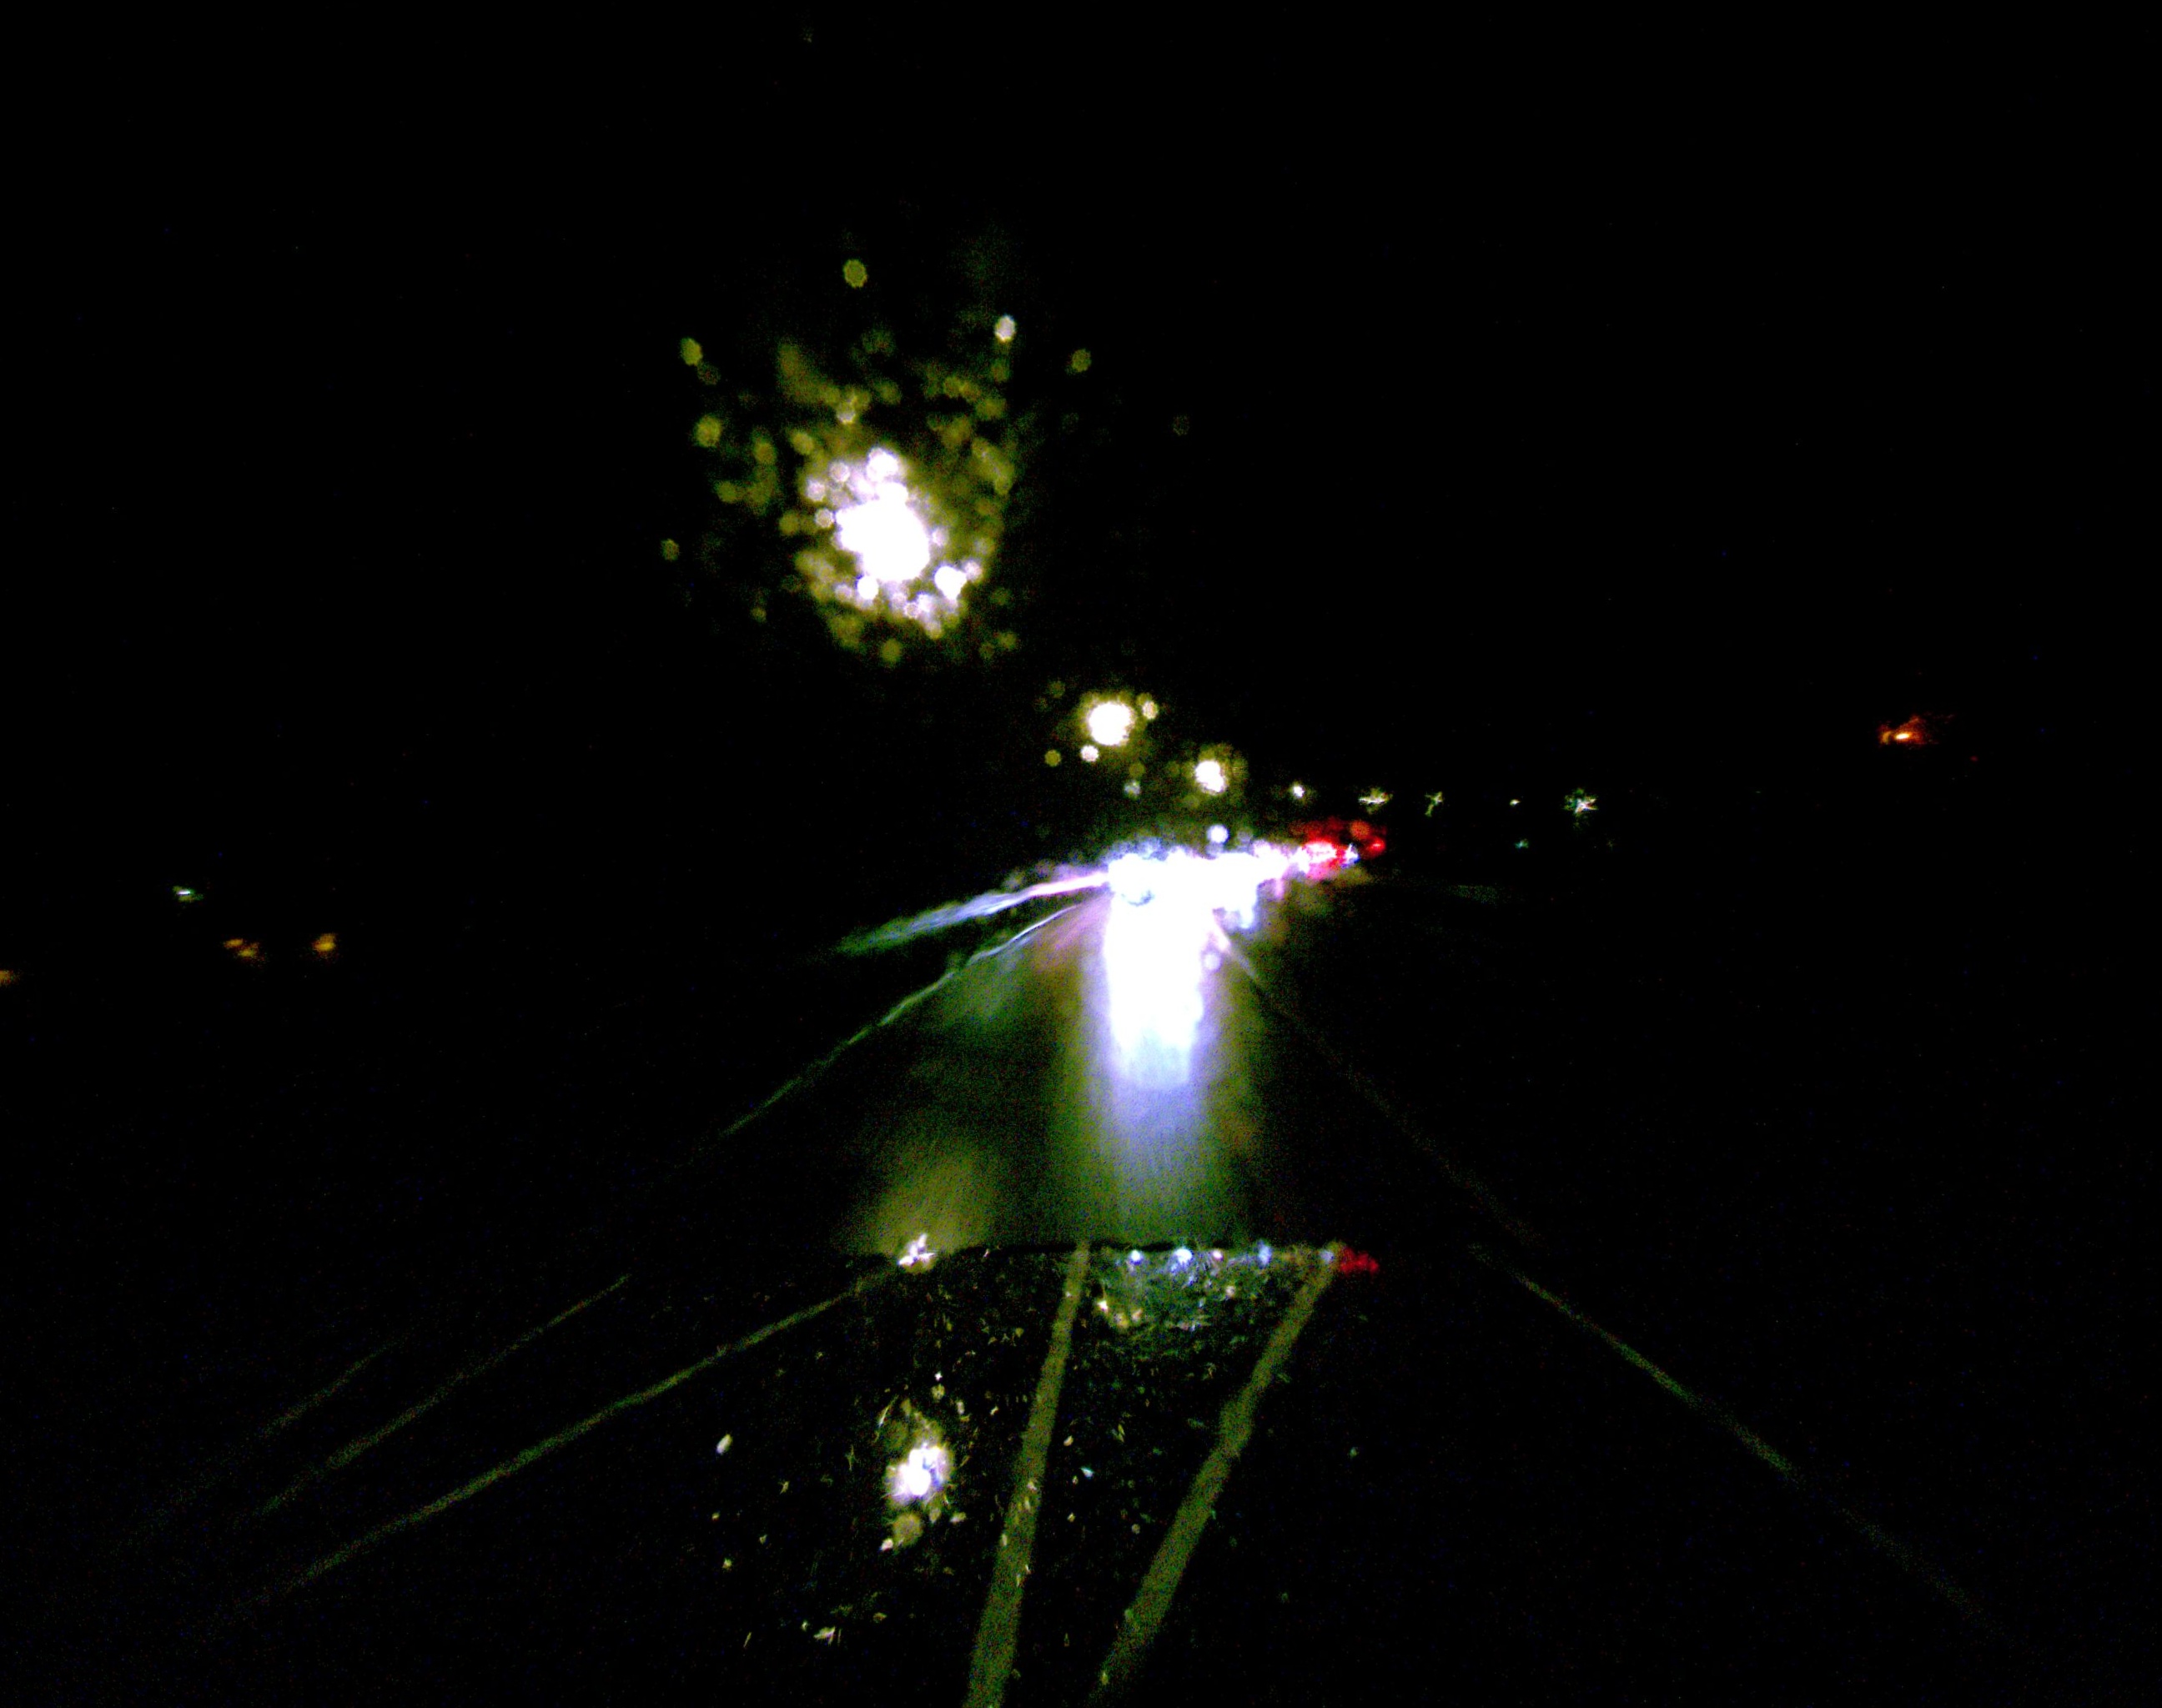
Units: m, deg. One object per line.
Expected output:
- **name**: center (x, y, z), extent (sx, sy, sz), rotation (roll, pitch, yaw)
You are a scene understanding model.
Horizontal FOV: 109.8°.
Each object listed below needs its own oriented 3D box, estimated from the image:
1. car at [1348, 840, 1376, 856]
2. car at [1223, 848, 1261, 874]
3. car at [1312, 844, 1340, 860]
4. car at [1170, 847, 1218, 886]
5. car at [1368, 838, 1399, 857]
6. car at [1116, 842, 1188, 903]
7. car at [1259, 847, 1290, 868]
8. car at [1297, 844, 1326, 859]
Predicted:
- **car**: center (34.418, -0.722, 93.124), extent (1.994, 1.923, 4.008), rotation (-2, 0, 39)
- **car**: center (12.652, 0.502, 59.650), extent (1.995, 1.923, 4.007), rotation (-2, 0, 25)
- **car**: center (24.485, -0.216, 75.786), extent (1.995, 1.475, 4.007), rotation (-2, 0, 28)
- **car**: center (6.171, 0.635, 41.021), extent (1.996, 1.923, 4.005), rotation (-2, 0, 16)
- **car**: center (36.414, -0.800, 91.409), extent (2.374, 2.079, 4.426), rotation (-2, 0, 38)
- **car**: center (2.486, 0.583, 25.708), extent (1.935, 1.861, 4.004), rotation (-2, 0, 12)
- **car**: center (18.440, 0.332, 72.166), extent (1.995, 1.923, 4.007), rotation (-2, 0, 27)
- **car**: center (25.360, -0.286, 83.517), extent (1.995, 1.475, 4.008), rotation (-2, 0, 32)
